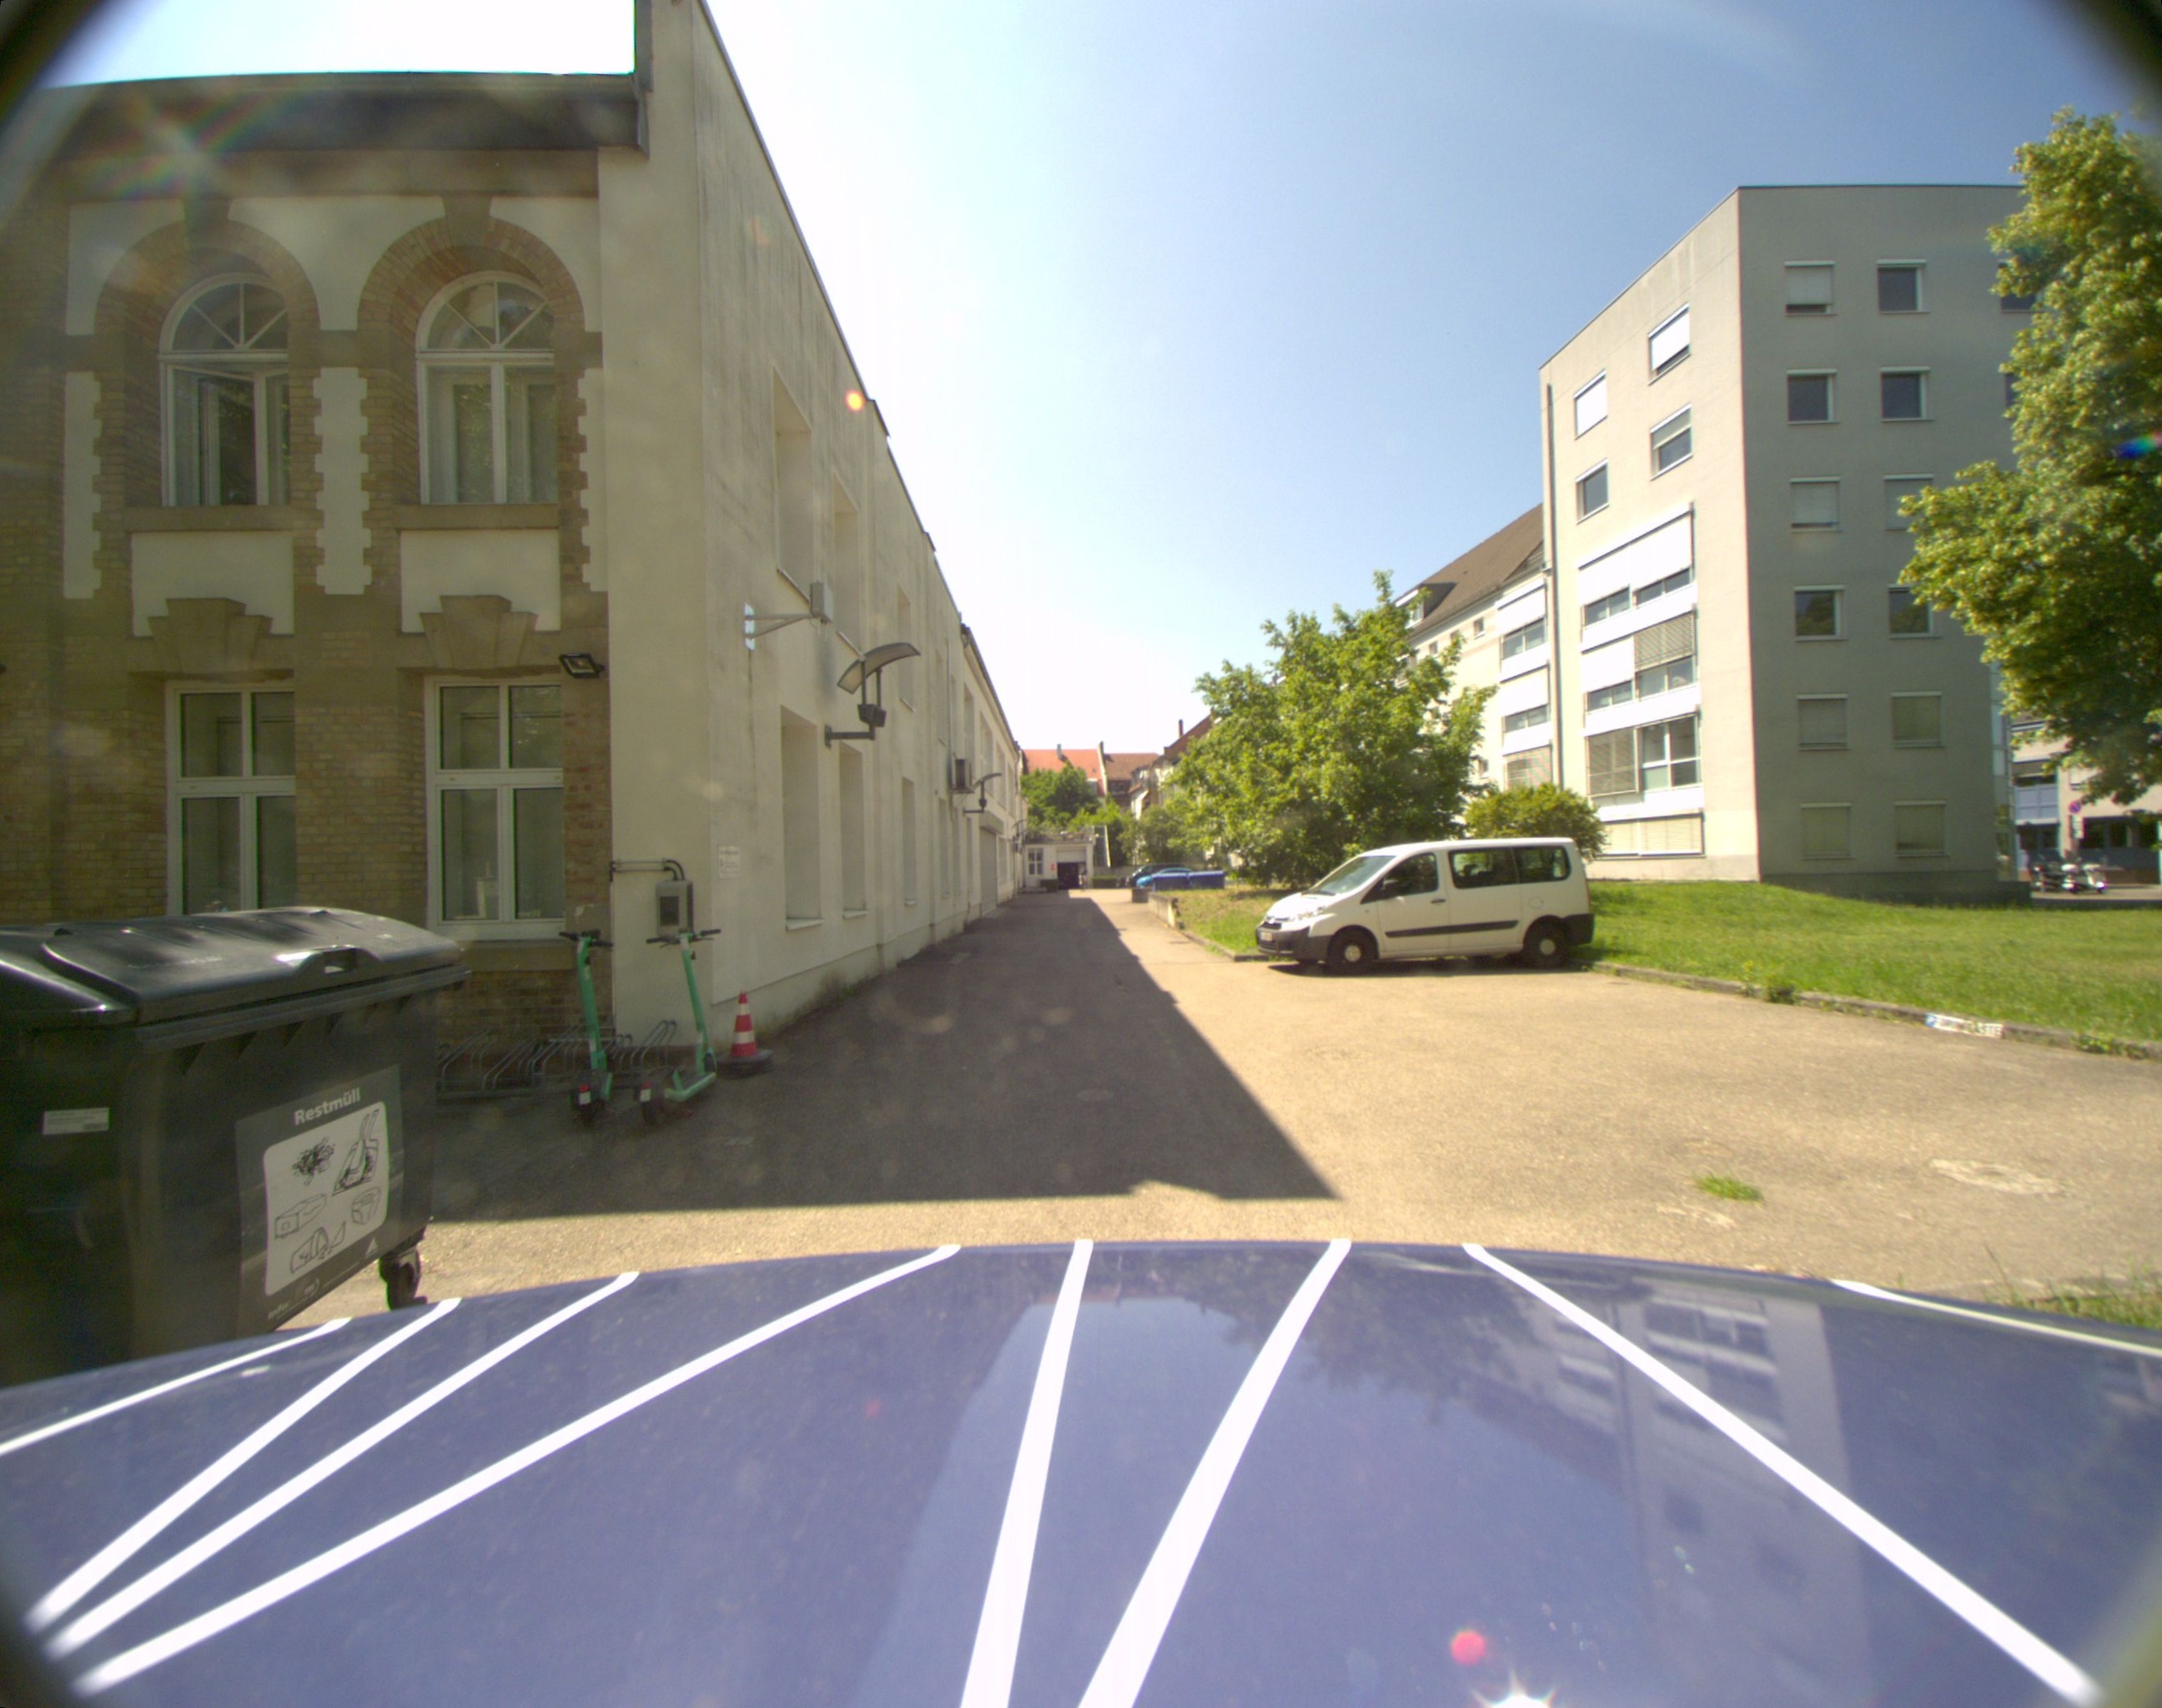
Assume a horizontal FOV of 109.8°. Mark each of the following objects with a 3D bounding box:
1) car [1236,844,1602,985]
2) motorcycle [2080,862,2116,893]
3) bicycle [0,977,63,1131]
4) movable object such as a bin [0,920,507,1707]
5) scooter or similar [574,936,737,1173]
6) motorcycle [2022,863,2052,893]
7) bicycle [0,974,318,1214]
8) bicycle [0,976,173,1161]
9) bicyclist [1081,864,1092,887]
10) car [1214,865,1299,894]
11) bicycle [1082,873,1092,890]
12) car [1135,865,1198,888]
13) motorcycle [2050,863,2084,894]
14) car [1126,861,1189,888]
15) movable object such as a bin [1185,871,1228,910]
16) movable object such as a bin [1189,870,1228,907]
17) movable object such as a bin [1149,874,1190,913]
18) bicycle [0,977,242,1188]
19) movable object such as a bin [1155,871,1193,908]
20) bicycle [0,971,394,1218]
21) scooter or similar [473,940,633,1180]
[{"bbox_3d":[5.054,0.865,11.778,4.803,1.899,1.999,-1,-1,-6],"label":"car"},{"bbox_3d":[40.898,0.937,30.562,2.337,1.161,0.698,-1,0,-41],"label":"motorcycle"},{"bbox_3d":[-8.018,1.453,4.869,0.504,1.061,1.835,-2,-1,0],"label":"bicycle"},{"bbox_3d":[-2.709,1.021,2.134,1.159,1.496,1.461,-2,1,-10],"label":"movable object such as a bin"},{"bbox_3d":[-2.688,1.192,4.935,0.465,1.167,1.356,-1,0,-10],"label":"scooter or similar"},{"bbox_3d":[39.778,0.987,31.630,2.308,1.161,0.698,-1,0,-41],"label":"motorcycle"},{"bbox_3d":[-6.136,1.454,4.956,0.454,1.061,1.835,-2,-1,0],"label":"bicycle"},{"bbox_3d":[-7.264,1.464,4.939,0.504,1.061,1.835,-2,-1,0],"label":"bicycle"},{"bbox_3d":[0.391,1.497,53.323,0.724,1.599,0.978,-2,0,-1],"label":"bicyclist"},{"bbox_3d":[9.119,1.305,39.673,3.999,1.428,1.711,-1,-1,-5],"label":"car"},{"bbox_3d":[0.401,1.939,53.413,0.645,1.167,1.905,-2,-1,-1],"label":"bicycle"},{"bbox_3d":[6.098,1.614,54.696,4.169,1.544,1.859,-1,-1,-6],"label":"car"},{"bbox_3d":[40.375,0.995,31.125,2.315,1.161,0.698,-1,0,-41],"label":"motorcycle"},{"bbox_3d":[5.746,1.517,57.330,4.449,1.821,1.999,-2,0,-4],"label":"car"},{"bbox_3d":[4.441,1.284,26.989,1.257,1.320,1.104,-2,-1,-1],"label":"movable object such as a bin"},{"bbox_3d":[4.827,1.294,28.809,1.257,1.320,1.104,-2,-1,-1],"label":"movable object such as a bin"},{"bbox_3d":[3.121,1.377,26.946,1.257,1.320,1.104,-2,-1,-1],"label":"movable object such as a bin"},{"bbox_3d":[-6.696,1.468,4.908,0.504,1.061,1.835,-2,-1,0],"label":"bicycle"},{"bbox_3d":[3.516,1.337,28.735,1.257,1.320,1.104,-2,-1,-1],"label":"movable object such as a bin"},{"bbox_3d":[-5.585,1.431,4.991,0.454,1.061,1.835,-2,-1,0],"label":"bicycle"},{"bbox_3d":[-3.279,1.204,4.821,0.465,1.167,1.254,-1,0,-18],"label":"scooter or similar"}]
